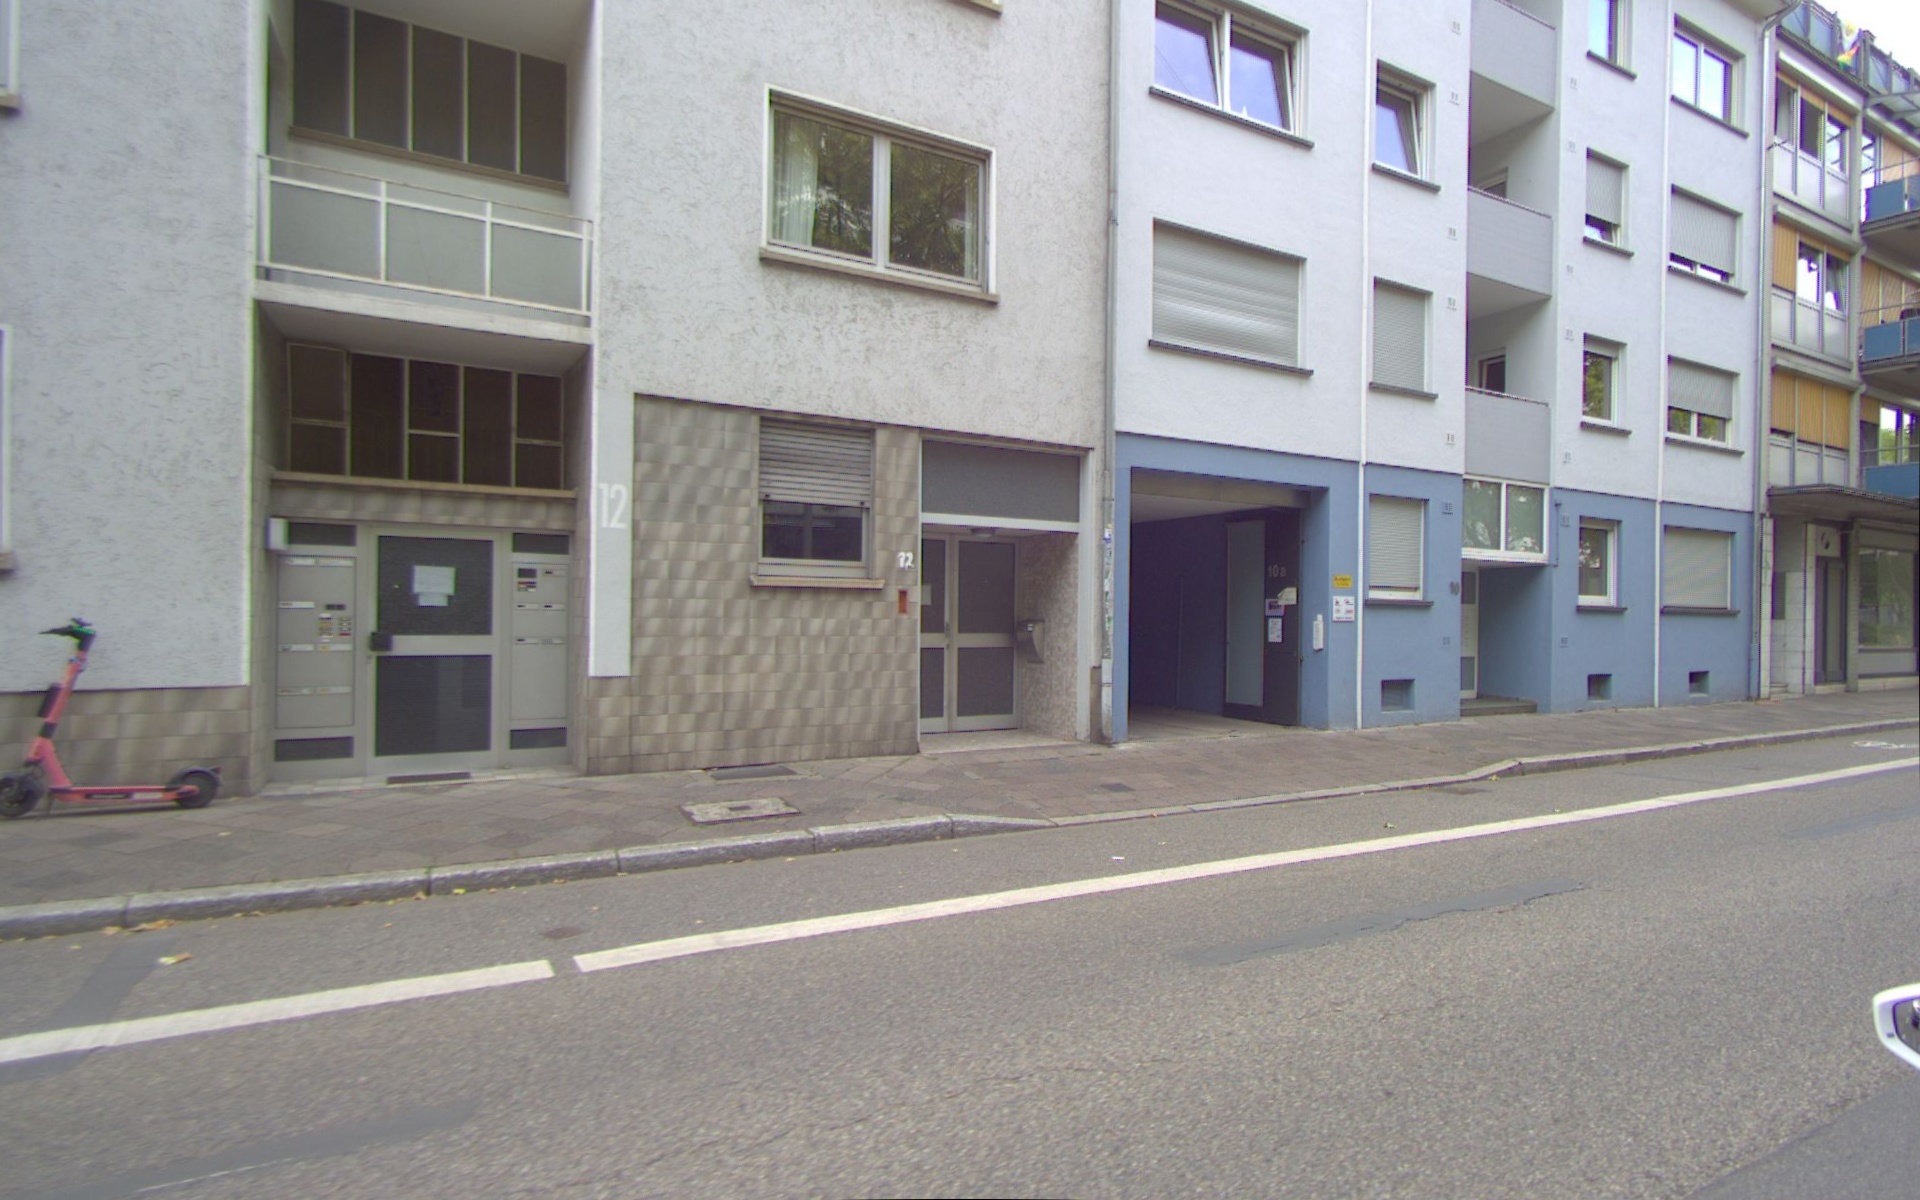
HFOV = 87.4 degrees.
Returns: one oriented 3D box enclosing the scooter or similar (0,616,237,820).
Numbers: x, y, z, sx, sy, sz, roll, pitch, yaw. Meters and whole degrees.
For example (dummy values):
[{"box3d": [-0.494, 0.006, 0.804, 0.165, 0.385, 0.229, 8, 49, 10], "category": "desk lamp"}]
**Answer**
[{"box3d": [-5.481, 0.730, 6.554, 1.187, 1.238, 0.348, 1, 1, -30], "category": "scooter or similar"}]
